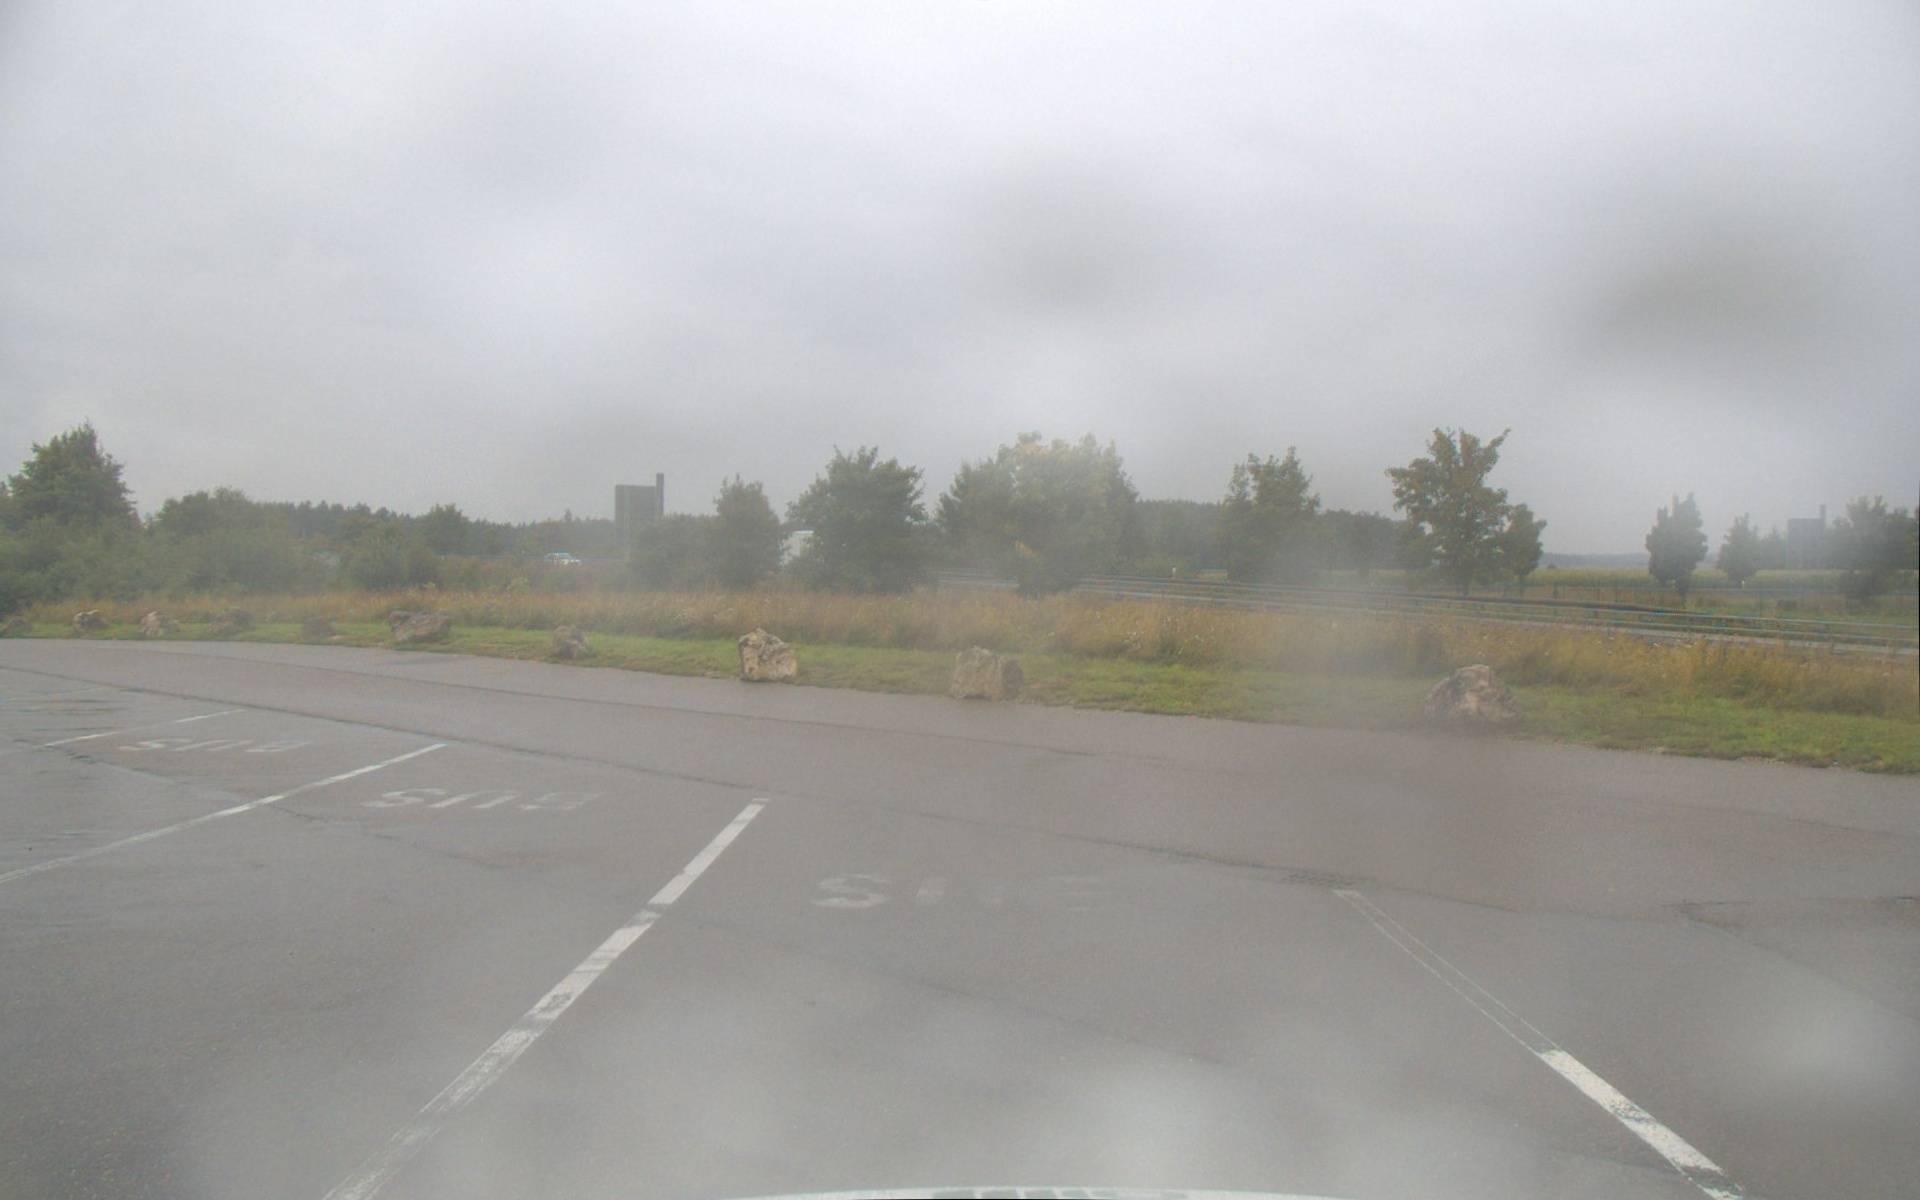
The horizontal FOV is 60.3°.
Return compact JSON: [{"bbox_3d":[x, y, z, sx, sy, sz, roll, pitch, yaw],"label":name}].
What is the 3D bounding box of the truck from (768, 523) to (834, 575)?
[{"bbox_3d":[-10.985,-3.456,113.703,2.698,3.450,8.023,1,1,-19],"label":"truck"}]
